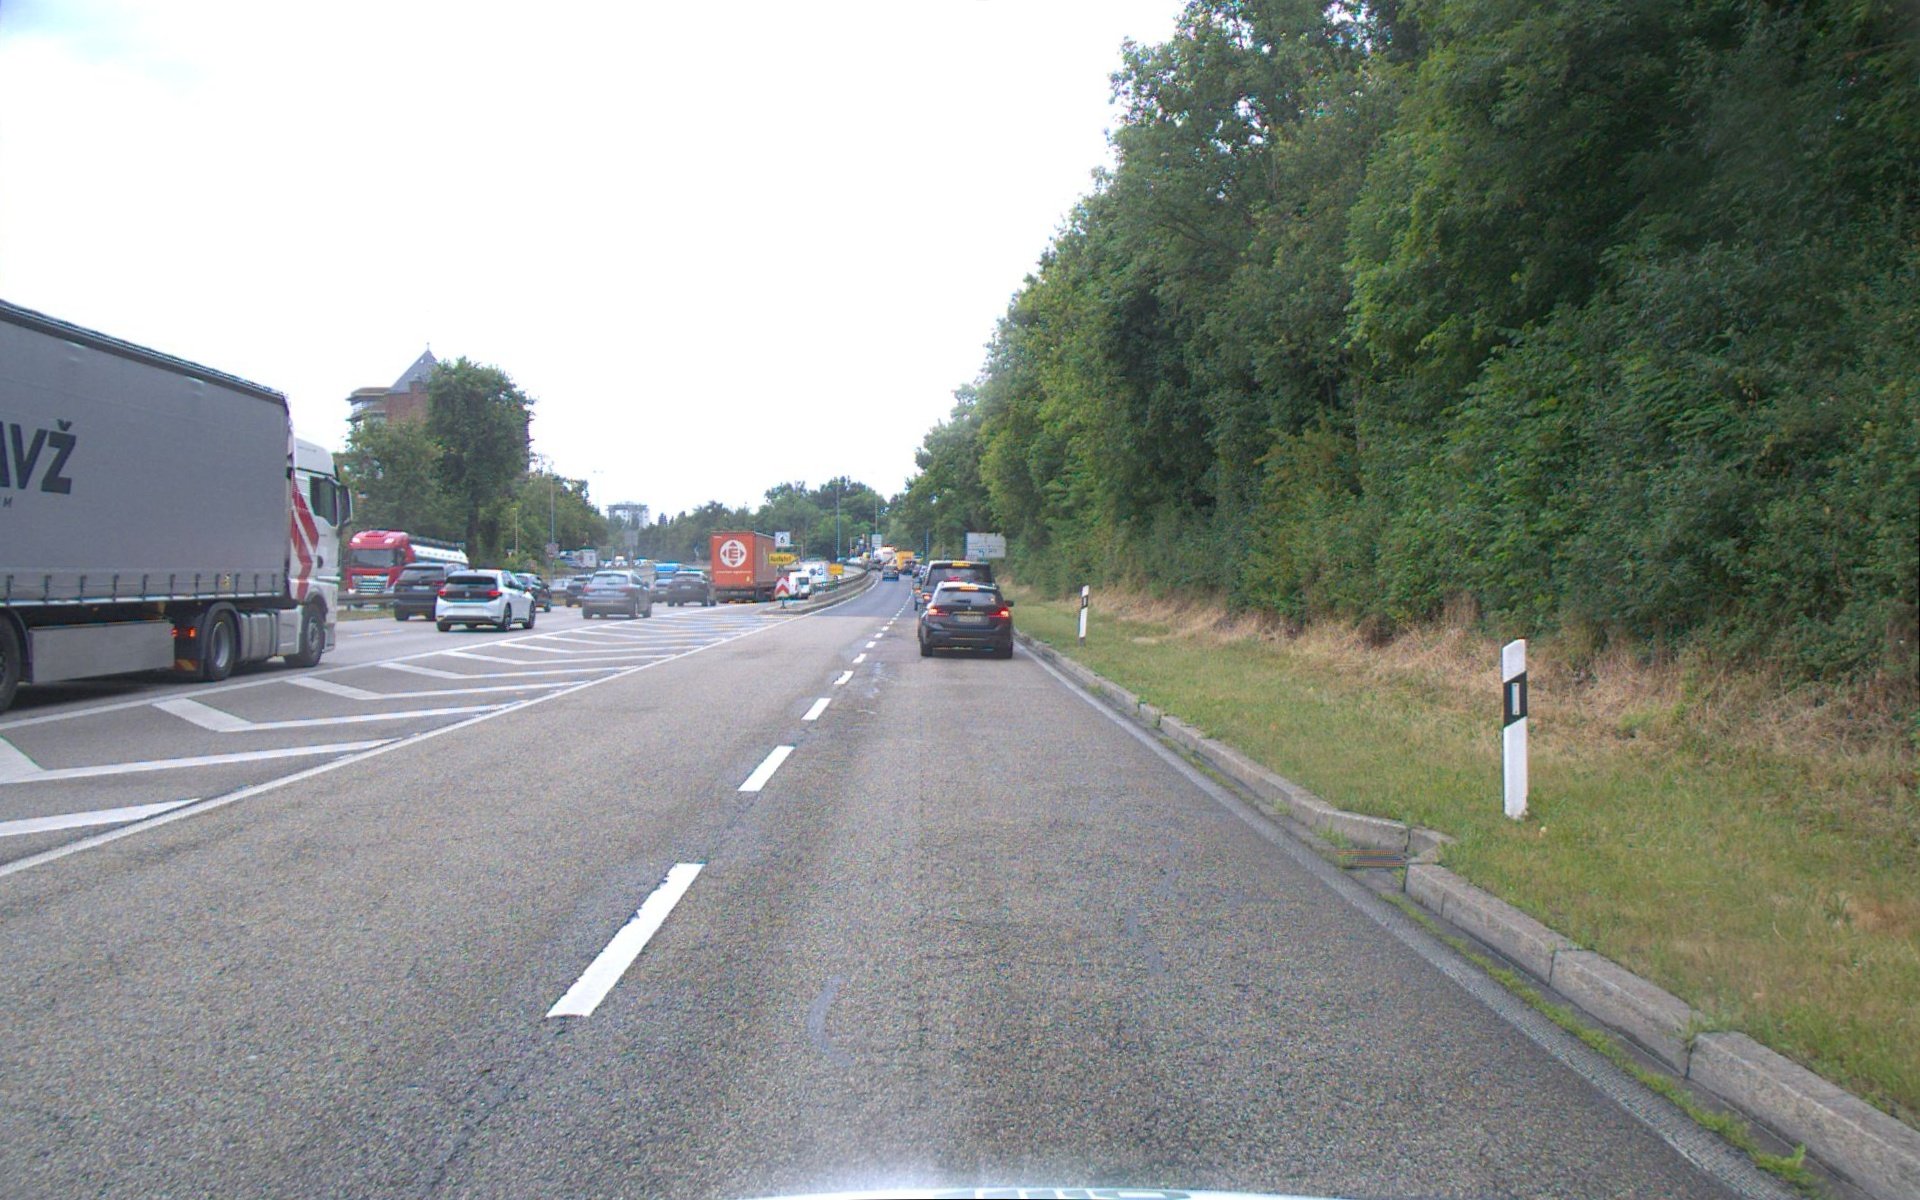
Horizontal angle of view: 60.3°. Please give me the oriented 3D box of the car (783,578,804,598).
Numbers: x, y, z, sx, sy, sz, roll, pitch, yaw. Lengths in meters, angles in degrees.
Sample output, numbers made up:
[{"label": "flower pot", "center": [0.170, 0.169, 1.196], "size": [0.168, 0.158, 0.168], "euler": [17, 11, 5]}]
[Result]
[{"label": "car", "center": [-13.349, -0.936, 133.061], "size": [1.526, 1.579, 3.815], "euler": [1, 0, -4]}]

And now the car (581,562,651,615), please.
[{"label": "car", "center": [-11.588, -0.375, 55.924], "size": [1.683, 1.713, 3.998], "euler": [1, 0, -3]}]

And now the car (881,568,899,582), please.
[{"label": "car", "center": [-7.342, -2.609, 172.605], "size": [1.789, 1.508, 3.998], "euler": [1, 1, -3]}]

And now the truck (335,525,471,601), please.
[{"label": "truck", "center": [-28.373, -1.781, 84.892], "size": [3.523, 3.569, 10.558], "euler": [1, 0, -1]}]

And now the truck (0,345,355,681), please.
[{"label": "truck", "center": [-11.294, -1.056, 23.503], "size": [3.136, 4.016, 7.067], "euler": [1, 0, -4]}]

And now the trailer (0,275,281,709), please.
[{"label": "trailer", "center": [-10.840, -1.050, 16.962], "size": [3.234, 4.107, 13.085], "euler": [1, 0, -5]}]

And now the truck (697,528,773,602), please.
[{"label": "truck", "center": [-13.501, -2.086, 100.297], "size": [3.420, 4.144, 13.584], "euler": [0, 1, -3]}]

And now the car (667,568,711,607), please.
[{"label": "car", "center": [-13.343, -0.601, 81.472], "size": [1.824, 1.847, 3.995], "euler": [1, 0, -6]}]

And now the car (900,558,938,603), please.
[{"label": "car", "center": [-1.911, -0.916, 76.773], "size": [1.572, 2.049, 3.997], "euler": [0, 1, -4]}]

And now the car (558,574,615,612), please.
[{"label": "car", "center": [-17.303, -0.316, 76.821], "size": [1.822, 1.646, 3.998], "euler": [1, 0, -2]}]

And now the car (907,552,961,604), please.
[{"label": "car", "center": [-1.098, -0.914, 67.766], "size": [1.954, 2.049, 3.997], "euler": [0, 1, -4]}]

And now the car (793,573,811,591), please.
[{"label": "car", "center": [-14.222, -1.591, 148.820], "size": [1.526, 1.579, 3.997], "euler": [0, 1, -4]}]

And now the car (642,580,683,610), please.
[{"label": "car", "center": [-17.593, -0.289, 98.016], "size": [1.822, 1.646, 3.998], "euler": [1, 0, -2]}]

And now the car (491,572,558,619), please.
[{"label": "car", "center": [-16.803, -0.164, 63.947], "size": [1.683, 1.746, 3.998], "euler": [1, 0, -3]}]

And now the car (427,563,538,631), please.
[{"label": "car", "center": [-12.233, -0.072, 42.633], "size": [1.764, 1.632, 4.255], "euler": [1, 0, -3]}]

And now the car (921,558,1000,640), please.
[{"label": "car", "center": [-0.010, -0.022, 40.218], "size": [1.786, 1.853, 3.999], "euler": [1, 0, -1]}]

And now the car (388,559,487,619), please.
[{"label": "car", "center": [-16.151, -0.329, 51.347], "size": [1.836, 1.746, 3.999], "euler": [1, 0, -1]}]

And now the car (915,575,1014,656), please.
[{"label": "car", "center": [0.033, 0.264, 32.948], "size": [1.788, 1.508, 3.998], "euler": [0, 1, -2]}]
